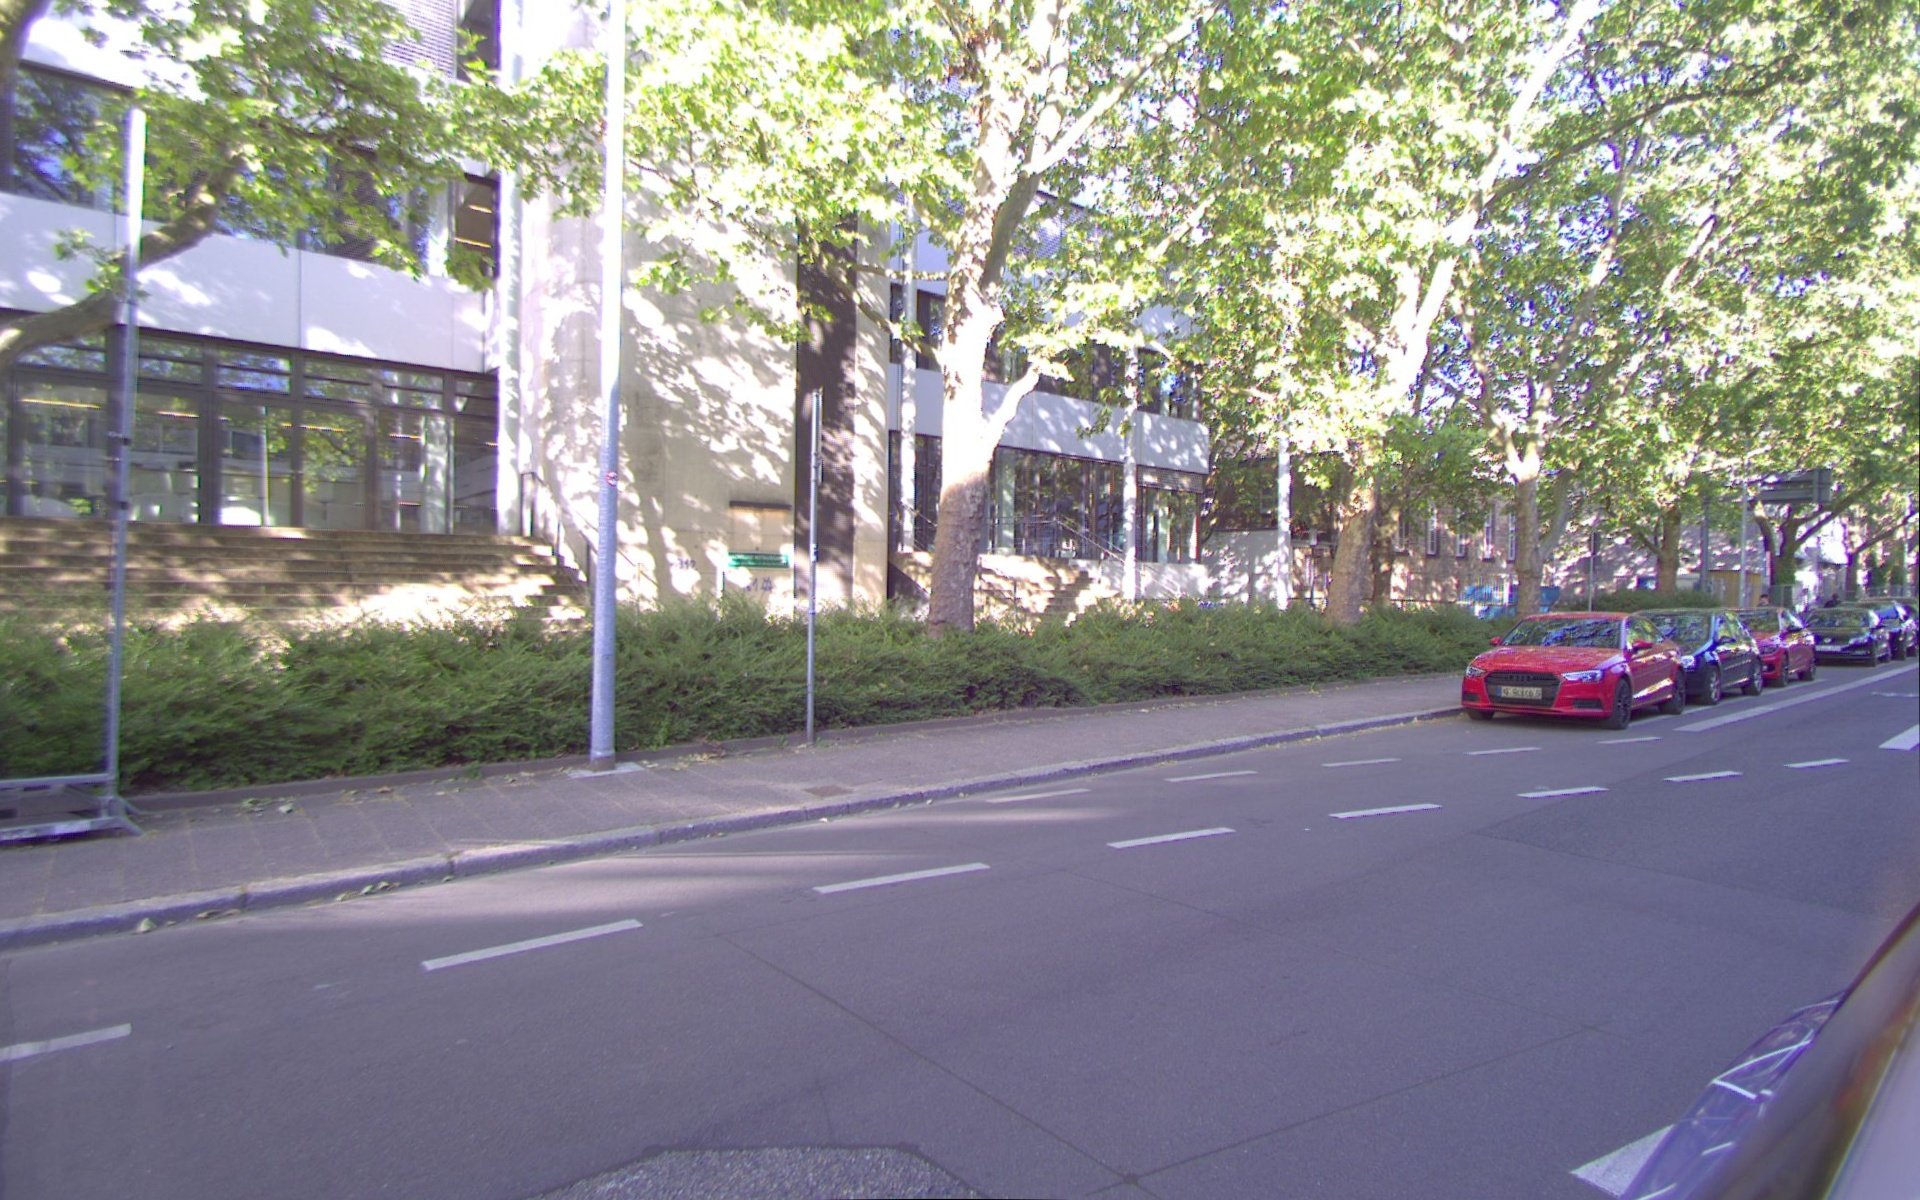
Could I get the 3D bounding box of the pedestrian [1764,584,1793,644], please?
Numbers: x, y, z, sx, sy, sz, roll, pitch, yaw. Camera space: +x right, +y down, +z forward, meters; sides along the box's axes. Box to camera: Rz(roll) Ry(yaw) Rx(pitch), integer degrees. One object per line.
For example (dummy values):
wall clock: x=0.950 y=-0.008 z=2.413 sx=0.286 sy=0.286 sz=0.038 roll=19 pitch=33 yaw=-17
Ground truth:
pedestrian: x=25.228 y=0.413 z=31.194 sx=0.583 sy=1.818 sz=0.600 roll=0 pitch=0 yaw=-41

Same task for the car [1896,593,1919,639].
car: x=35.908 y=0.581 z=37.107 sx=4.183 sy=1.634 sz=1.834 roll=0 pitch=0 yaw=-40

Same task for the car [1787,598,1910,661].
car: x=22.871 y=0.703 z=25.997 sx=4.095 sy=1.486 sz=1.834 roll=0 pitch=0 yaw=-41

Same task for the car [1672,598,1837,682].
car: x=15.838 y=0.710 z=20.106 sx=4.095 sy=1.486 sz=1.834 roll=0 pitch=0 yaw=-41

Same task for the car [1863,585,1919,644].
car: x=31.045 y=0.440 z=32.982 sx=4.384 sy=1.820 sz=1.834 roll=0 pitch=0 yaw=-40

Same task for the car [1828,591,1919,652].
car: x=26.559 y=0.573 z=29.092 sx=4.088 sy=1.626 sz=1.834 roll=0 pitch=0 yaw=-40

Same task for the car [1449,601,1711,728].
car: x=8.404 y=0.738 z=13.574 sx=4.173 sy=1.422 sz=1.834 roll=0 pitch=0 yaw=-41

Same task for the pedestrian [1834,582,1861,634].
pedestrian: x=32.366 y=0.292 z=36.896 sx=0.629 sy=1.884 sz=0.660 roll=0 pitch=0 yaw=-41

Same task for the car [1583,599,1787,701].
car: x=12.023 y=0.720 z=16.691 sx=4.095 sy=1.464 sz=1.834 roll=0 pitch=0 yaw=-41
